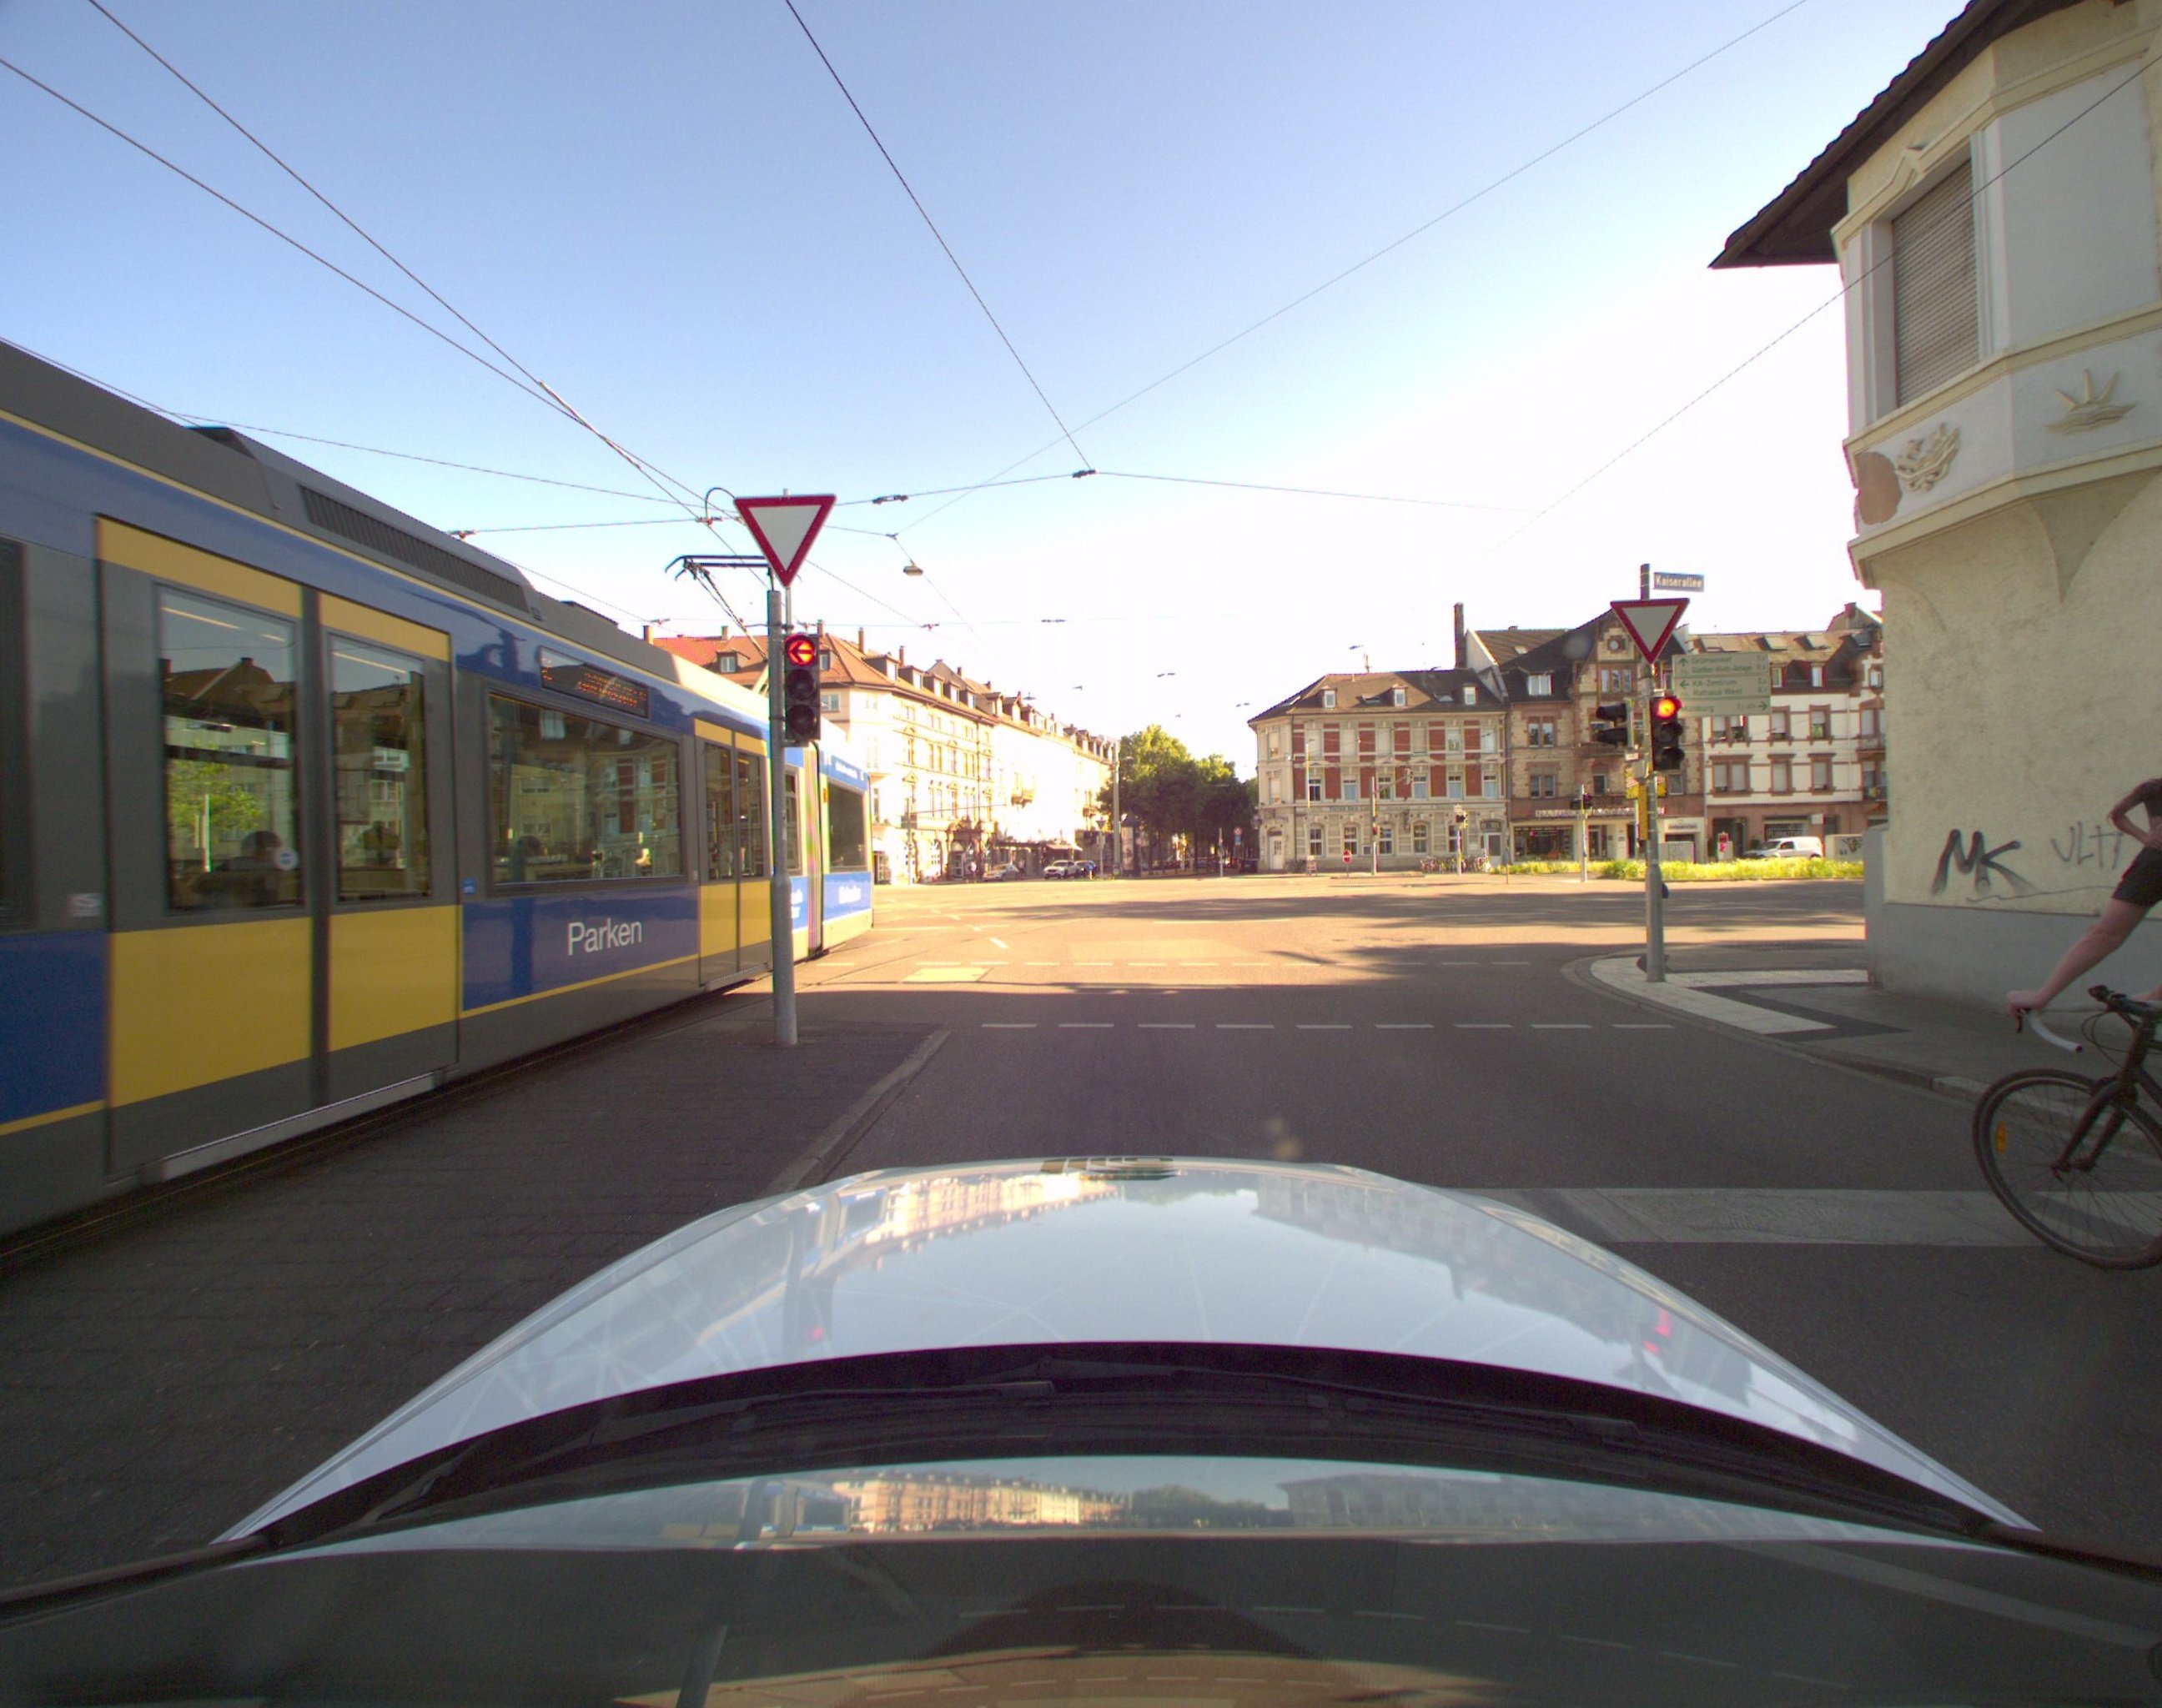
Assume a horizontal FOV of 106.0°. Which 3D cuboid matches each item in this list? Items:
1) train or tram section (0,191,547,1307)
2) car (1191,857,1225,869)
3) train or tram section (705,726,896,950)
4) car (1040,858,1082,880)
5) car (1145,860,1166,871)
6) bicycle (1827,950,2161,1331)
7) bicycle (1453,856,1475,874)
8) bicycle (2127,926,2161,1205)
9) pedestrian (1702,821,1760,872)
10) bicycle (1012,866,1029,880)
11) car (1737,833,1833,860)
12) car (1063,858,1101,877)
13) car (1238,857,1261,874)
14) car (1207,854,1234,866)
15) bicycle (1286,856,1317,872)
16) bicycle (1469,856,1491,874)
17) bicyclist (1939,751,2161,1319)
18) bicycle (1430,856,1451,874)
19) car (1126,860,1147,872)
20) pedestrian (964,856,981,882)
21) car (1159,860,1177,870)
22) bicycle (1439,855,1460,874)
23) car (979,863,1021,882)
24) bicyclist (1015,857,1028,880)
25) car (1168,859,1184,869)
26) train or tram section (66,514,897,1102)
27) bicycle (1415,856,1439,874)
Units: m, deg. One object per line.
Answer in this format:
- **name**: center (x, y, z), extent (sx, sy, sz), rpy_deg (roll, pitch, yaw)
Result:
- **train or tram section**: center (-4.820, -0.312, 1.038), extent (2.804, 3.499, 7.964), rpy_deg (-1, 0, 1)
- **car**: center (18.001, 1.316, 115.228), extent (4.335, 1.612, 2.012), rpy_deg (-2, 0, 28)
- **train or tram section**: center (-5.771, -0.261, 18.854), extent (2.773, 3.499, 11.977), rpy_deg (-1, 0, -13)
- **car**: center (-1.599, 1.251, 67.545), extent (1.977, 1.684, 4.413), rpy_deg (-2, 0, 20)
- **car**: center (11.266, 1.738, 122.606), extent (1.977, 1.612, 4.413), rpy_deg (-2, 0, 20)
- **bicycle**: center (3.619, 0.942, 2.677), extent (0.642, 1.010, 1.930), rpy_deg (-2, 0, 4)
- **bicycle**: center (24.786, 0.711, 52.695), extent (0.615, 1.143, 2.178), rpy_deg (-2, 0, 7)
- **bicycle**: center (4.539, 0.851, 2.451), extent (0.516, 1.116, 1.815), rpy_deg (-2, 0, 4)
- **pedestrian**: center (27.120, -0.307, 34.005), extent (1.314, 2.044, 1.307), rpy_deg (-2, 0, 1)
- **bicycle**: center (-4.808, 1.511, 65.302), extent (0.675, 1.066, 2.133), rpy_deg (-2, 0, 14)
- **car**: center (45.366, -0.477, 52.559), extent (4.317, 1.640, 2.152), rpy_deg (-2, 0, 1)
- **car**: center (0.126, 1.219, 74.022), extent (1.977, 1.612, 4.413), rpy_deg (-2, 0, 20)
- **car**: center (17.024, 1.144, 82.222), extent (1.978, 1.585, 4.017), rpy_deg (-2, 0, 16)
- **car**: center (22.843, 0.980, 133.308), extent (3.948, 1.706, 2.013), rpy_deg (-2, 0, 32)
- **bicycle**: center (15.507, 0.724, 57.195), extent (2.081, 1.124, 0.366), rpy_deg (0, -1, -3)
- **bicycle**: center (25.763, 0.691, 52.605), extent (0.606, 1.136, 2.139), rpy_deg (-2, 0, 7)
- **bicyclist**: center (3.604, 0.555, 2.600), extent (0.559, 1.754, 1.102), rpy_deg (-2, 0, 4)
- **bicycle**: center (23.286, 0.693, 52.843), extent (0.615, 1.143, 2.178), rpy_deg (-2, 0, 7)
- **car**: center (7.544, 1.674, 110.987), extent (1.978, 1.486, 4.017), rpy_deg (-1, 0, 16)
- **pedestrian**: center (-7.558, 1.029, 56.641), extent (1.046, 1.744, 0.806), rpy_deg (-1, 0, -11)
- **car**: center (13.925, 1.709, 130.338), extent (1.822, 1.552, 4.412), rpy_deg (-2, 0, 19)
- **bicycle**: center (23.865, 0.673, 52.790), extent (0.615, 1.143, 2.178), rpy_deg (-2, 0, 7)
- **car**: center (-6.675, 1.521, 67.388), extent (1.883, 1.455, 4.020), rpy_deg (-2, 0, 20)
- **bicyclist**: center (-4.804, 1.131, 65.345), extent (0.674, 1.820, 1.075), rpy_deg (-2, 0, 14)
- **car**: center (15.843, 1.730, 136.173), extent (1.750, 1.549, 4.411), rpy_deg (-2, 0, 18)
- **train or tram section**: center (-4.613, -0.284, 9.173), extent (2.804, 3.499, 8.465), rpy_deg (-1, 0, 2)
- **bicycle**: center (22.507, 0.702, 52.992), extent (0.802, 1.143, 2.178), rpy_deg (-2, 0, 7)
